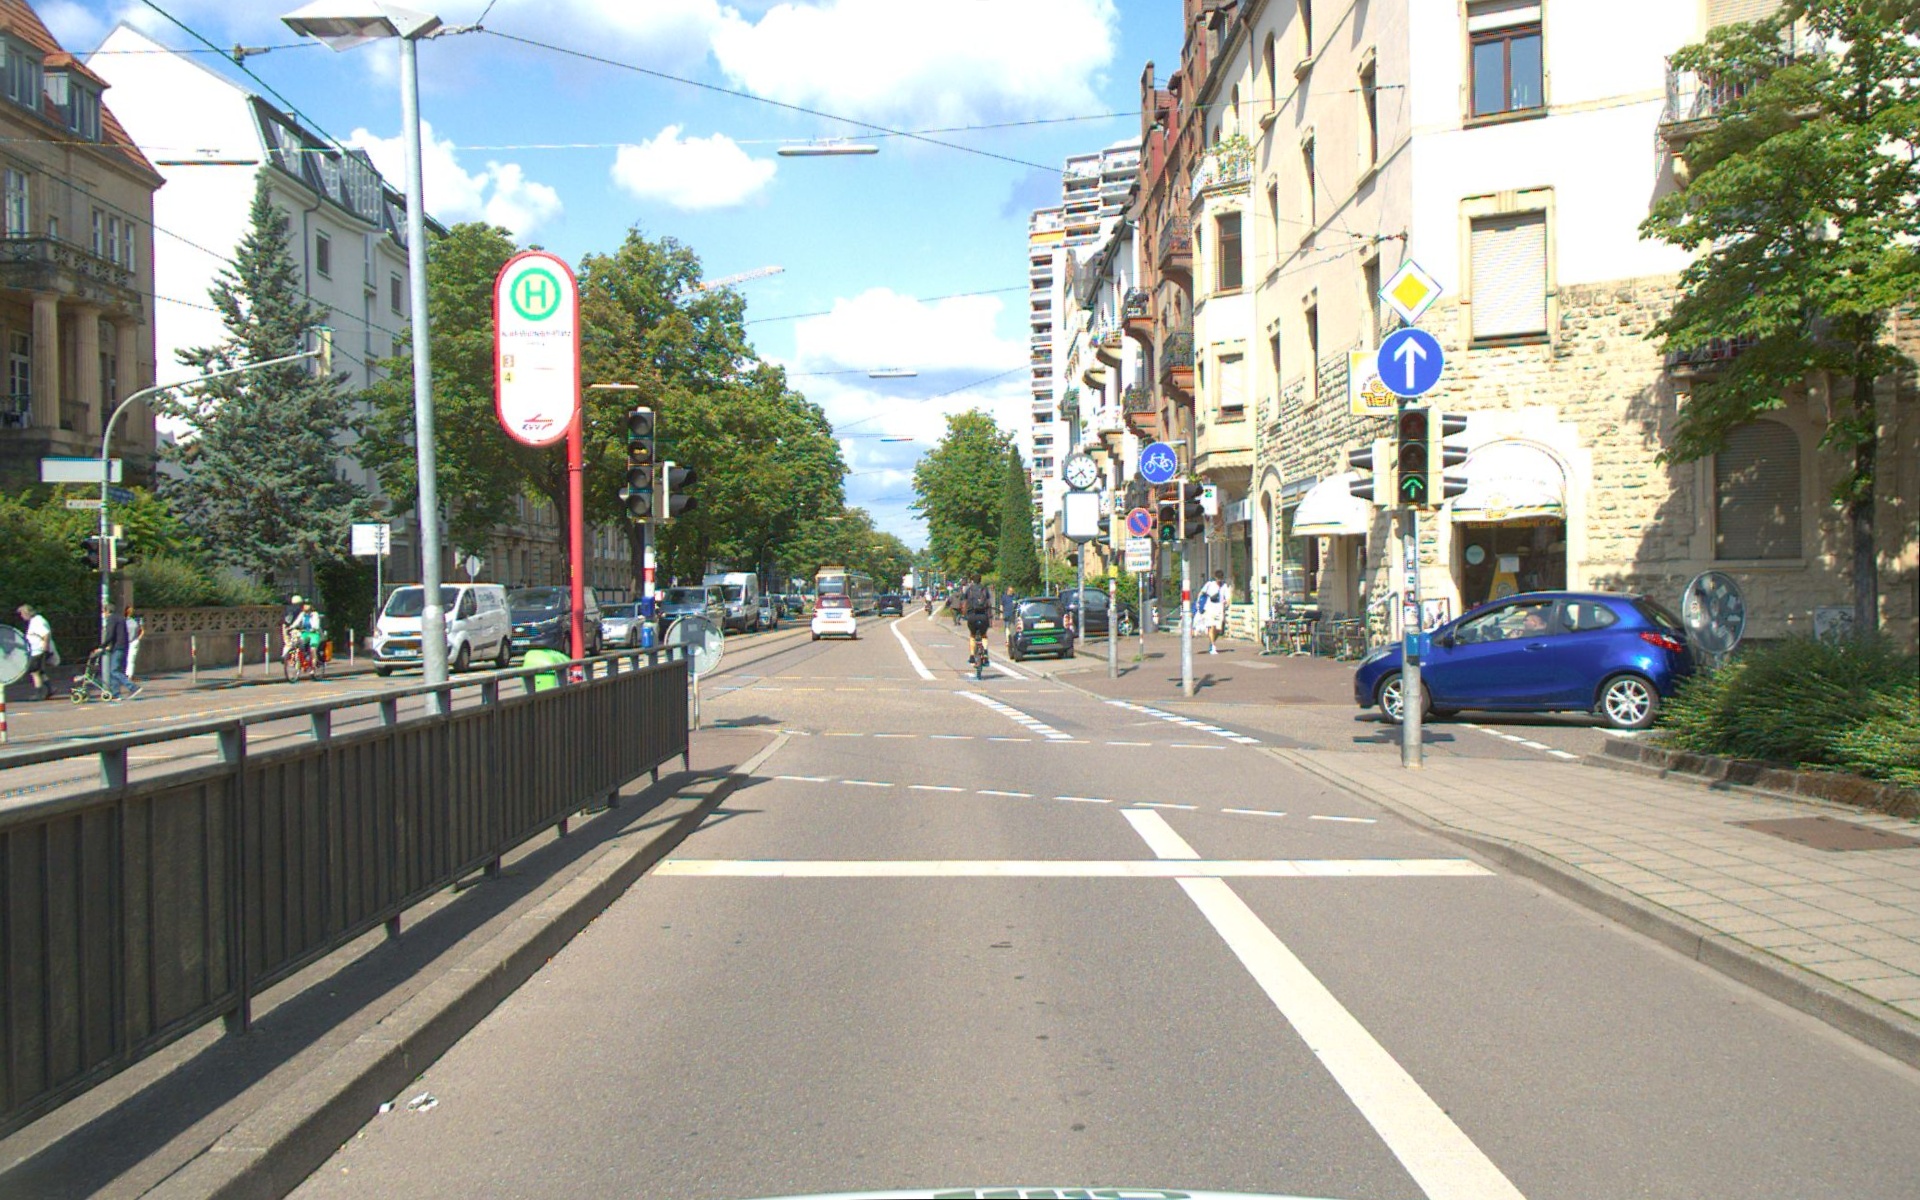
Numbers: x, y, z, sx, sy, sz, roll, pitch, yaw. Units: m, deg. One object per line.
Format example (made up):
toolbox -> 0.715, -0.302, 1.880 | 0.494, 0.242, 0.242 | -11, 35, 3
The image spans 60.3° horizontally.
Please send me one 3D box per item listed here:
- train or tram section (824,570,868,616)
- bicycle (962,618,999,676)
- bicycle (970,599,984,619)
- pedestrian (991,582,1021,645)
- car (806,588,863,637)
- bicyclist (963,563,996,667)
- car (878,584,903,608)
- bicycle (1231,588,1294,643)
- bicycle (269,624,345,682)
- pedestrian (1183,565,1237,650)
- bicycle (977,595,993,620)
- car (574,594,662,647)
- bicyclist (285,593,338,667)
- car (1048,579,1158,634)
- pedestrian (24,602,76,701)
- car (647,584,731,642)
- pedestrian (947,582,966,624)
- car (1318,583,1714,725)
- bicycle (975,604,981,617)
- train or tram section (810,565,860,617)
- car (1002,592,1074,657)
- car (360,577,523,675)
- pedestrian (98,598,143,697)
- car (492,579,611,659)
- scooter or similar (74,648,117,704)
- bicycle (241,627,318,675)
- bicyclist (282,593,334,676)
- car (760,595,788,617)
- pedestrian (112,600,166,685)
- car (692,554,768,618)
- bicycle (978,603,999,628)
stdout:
train or tram section -> -9.054, -0.515, 132.631 | 2.599, 3.448, 11.472 | -3, 0, 0
bicycle -> 0.384, 0.907, 32.349 | 0.603, 1.063, 1.835 | -4, -1, -1
bicycle -> 0.886, 0.463, 86.423 | 0.598, 1.013, 2.362 | -4, 0, -1
pedestrian -> 1.406, 0.410, 50.683 | 0.647, 1.873, 0.872 | -5, 0, -8
car -> -4.414, 0.443, 58.474 | 1.631, 1.653, 3.621 | 1, 0, 1
bicyclist -> 0.379, 0.295, 32.345 | 0.594, 1.982, 1.130 | 1, -1, -1
car -> -4.963, -0.278, 118.610 | 1.631, 1.653, 3.620 | -1, 0, -1
bicycle -> 6.874, 0.354, 37.742 | 0.789, 1.198, 2.750 | 1, 0, -3
bicycle -> -13.799, 1.106, 35.011 | 0.828, 1.180, 1.955 | 1, 0, -1
pedestrian -> 5.474, 0.162, 36.262 | 0.990, 1.799, 0.850 | -3, 1, 0
bicycle -> 1.242, 0.384, 82.959 | 0.725, 1.252, 2.515 | -1, 0, -1
car -> -10.799, 0.616, 52.471 | 1.657, 1.506, 4.483 | -2, 1, 2
bicyclist -> -14.953, 0.686, 38.138 | 0.931, 1.673, 0.701 | 1, -1, -2
car -> 4.553, 0.209, 53.047 | 3.331, 1.550, 1.972 | -3, 0, 2
pedestrian -> -15.839, 0.889, 28.812 | 0.600, 1.686, 0.723 | 1, 1, -14
car -> -10.156, 0.535, 62.349 | 1.944, 1.998, 5.181 | -1, -2, 4
pedestrian -> -0.164, 0.120, 75.677 | 0.772, 1.894, 0.579 | -1, -2, -7
car -> 6.305, 0.575, 18.890 | 3.918, 1.443, 1.886 | -1, 0, 35
bicycle -> 1.056, 0.604, 95.739 | 0.274, 0.689, 1.559 | -4, 0, 0
train or tram section -> -9.029, -0.558, 120.798 | 2.599, 3.496, 12.313 | -3, 0, 0
car -> 1.959, 0.594, 42.075 | 1.483, 1.525, 2.793 | -3, 0, -3
car -> -11.630, 0.562, 37.482 | 1.952, 2.030, 5.089 | 1, 0, 1
pedestrian -> -14.504, 0.817, 28.586 | 0.511, 1.686, 0.749 | 1, -1, -14
car -> -10.992, 0.498, 44.830 | 1.888, 1.950, 5.123 | -2, 0, 0
scooter or similar -> -14.861, 1.296, 28.445 | 0.538, 0.938, 0.498 | 1, -1, -14
bicycle -> -15.358, 1.146, 37.379 | 0.978, 0.949, 1.860 | 3, 1, -2
bicyclist -> -13.781, 0.726, 34.962 | 0.821, 1.725, 0.672 | 1, -1, -2
car -> -14.339, 0.478, 127.604 | 1.715, 1.694, 4.719 | 1, 0, -1
pedestrian -> -16.570, 0.842, 33.382 | 0.509, 1.686, 0.817 | 1, -1, 19
car -> -9.650, -0.625, 69.981 | 2.268, 2.551, 6.364 | -1, 1, 0
bicycle -> 1.213, 0.628, 70.241 | 0.587, 0.977, 3.064 | -4, 0, -3
